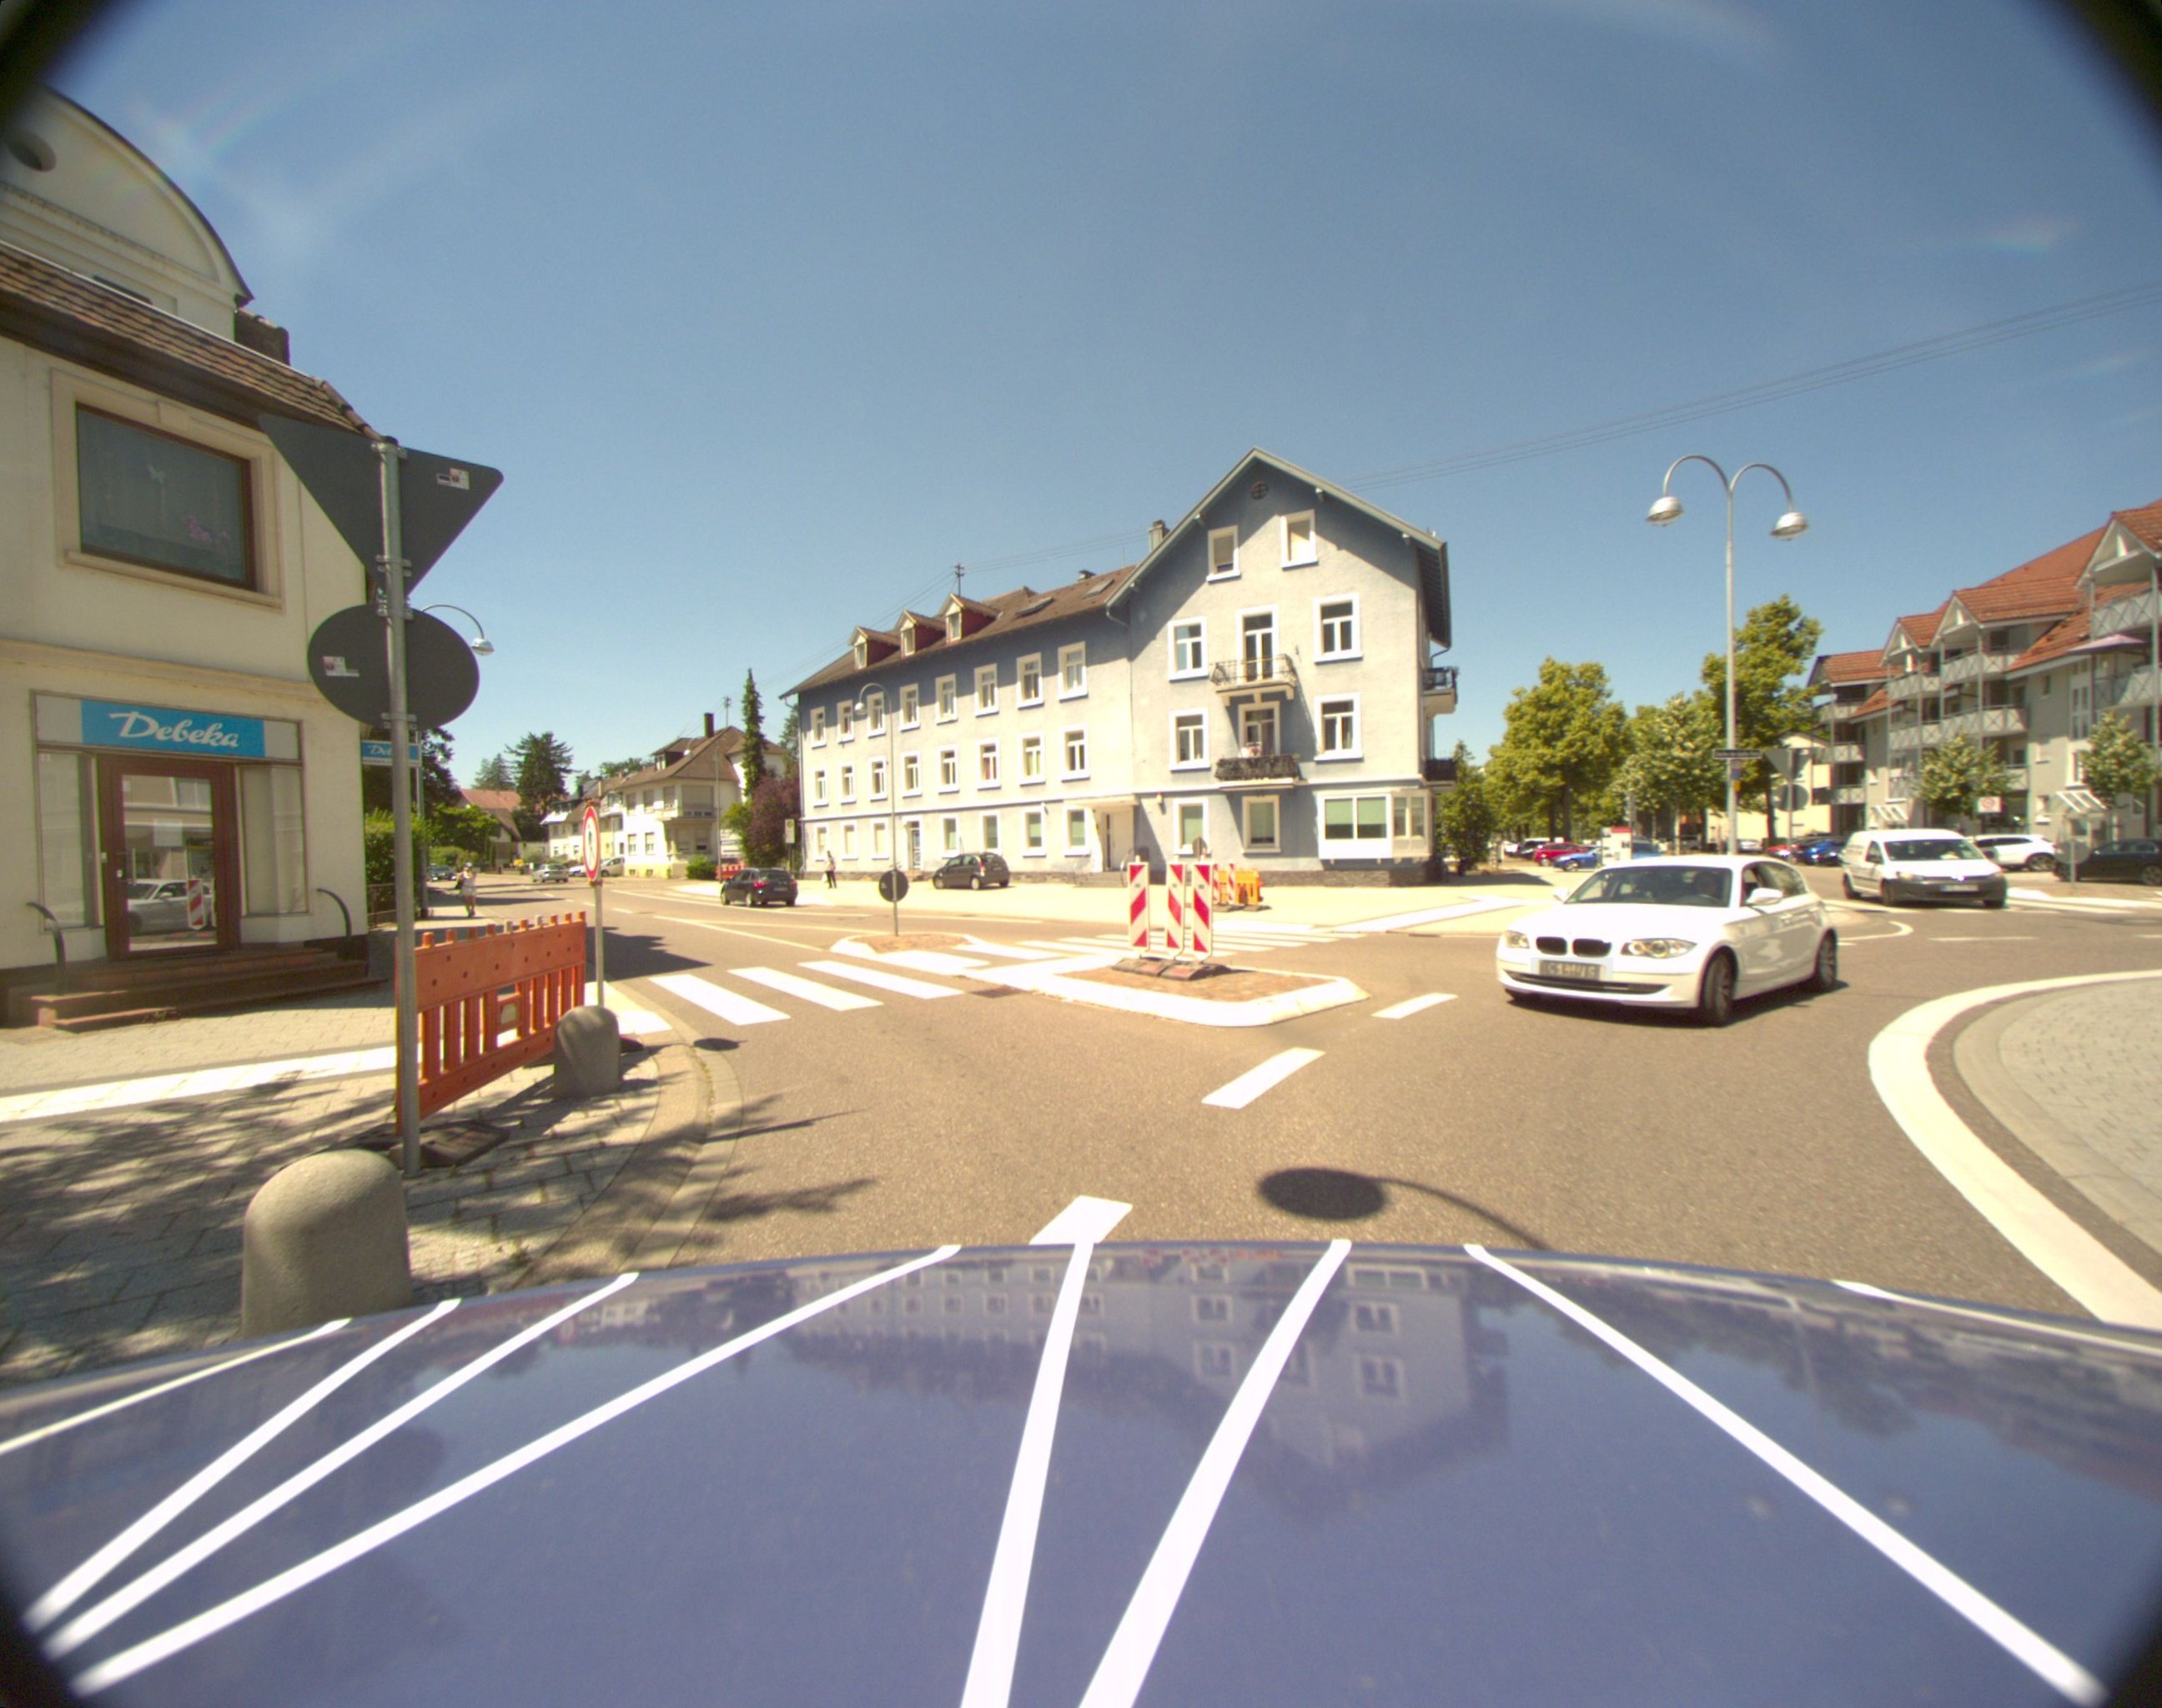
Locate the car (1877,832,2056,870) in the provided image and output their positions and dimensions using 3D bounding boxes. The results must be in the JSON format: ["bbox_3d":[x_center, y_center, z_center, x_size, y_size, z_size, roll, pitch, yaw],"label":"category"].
[{"bbox_3d":[36.503,-0.099,31.499,4.398,1.483,1.986,-1,0,27],"label":"car"}]

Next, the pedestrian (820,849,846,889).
[{"bbox_3d":[-11.894,0.699,36.445,0.770,1.838,0.759,-1,5,41],"label":"pedestrian"}]

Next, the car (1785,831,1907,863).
[{"bbox_3d":[42.317,-0.372,42.160,4.362,1.660,1.986,-1,0,27],"label":"car"}]

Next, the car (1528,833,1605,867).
[{"bbox_3d":[30.962,-0.264,48.584,3.989,2.003,2.003,-1,3,28],"label":"car"}]

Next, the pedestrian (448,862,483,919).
[{"bbox_3d":[-18.207,1.084,22.491,0.769,1.633,0.627,1,-3,45],"label":"pedestrian"}]

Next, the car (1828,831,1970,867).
[{"bbox_3d":[40.174,-0.234,37.475,4.362,1.660,1.986,-1,0,27],"label":"car"}]

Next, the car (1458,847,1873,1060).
[{"bbox_3d":[5.887,0.774,7.565,4.134,1.541,1.783,-2,-1,-30],"label":"car"}]

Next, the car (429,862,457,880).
[{"bbox_3d":[-58.849,1.548,70.052,1.693,1.447,3.729,-4,3,-43],"label":"car"}]

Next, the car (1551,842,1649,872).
[{"bbox_3d":[26.758,0.170,39.306,4.021,1.352,1.663,-1,4,28],"label":"car"}]

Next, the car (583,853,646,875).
[{"bbox_3d":[-41.105,0.874,67.088,1.845,1.866,4.375,-1,-1,35],"label":"car"}]

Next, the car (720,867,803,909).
[{"bbox_3d":[-11.913,1.222,28.203,1.668,1.443,4.012,0,-1,-41],"label":"car"}]

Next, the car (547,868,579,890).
[{"bbox_3d":[-41.202,2.035,60.505,1.848,1.520,4.384,3,-5,-32],"label":"car"}]

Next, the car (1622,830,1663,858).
[{"bbox_3d":[43.007,-0.780,58.244,1.995,2.002,4.006,-1,3,29],"label":"car"}]

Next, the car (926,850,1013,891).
[{"bbox_3d":[-4.740,0.656,32.117,3.763,1.526,1.586,1,3,42],"label":"car"}]

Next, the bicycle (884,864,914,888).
[{"bbox_3d":[-8.299,0.979,34.567,0.498,0.972,1.967,-8,6,-37],"label":"bicycle"}]

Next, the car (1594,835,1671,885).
[{"bbox_3d":[21.137,0.181,29.289,1.777,1.767,4.250,-1,1,27],"label":"car"}]

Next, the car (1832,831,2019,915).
[{"bbox_3d":[20.003,0.366,18.246,1.776,1.767,4.251,-1,1,30],"label":"car"}]
